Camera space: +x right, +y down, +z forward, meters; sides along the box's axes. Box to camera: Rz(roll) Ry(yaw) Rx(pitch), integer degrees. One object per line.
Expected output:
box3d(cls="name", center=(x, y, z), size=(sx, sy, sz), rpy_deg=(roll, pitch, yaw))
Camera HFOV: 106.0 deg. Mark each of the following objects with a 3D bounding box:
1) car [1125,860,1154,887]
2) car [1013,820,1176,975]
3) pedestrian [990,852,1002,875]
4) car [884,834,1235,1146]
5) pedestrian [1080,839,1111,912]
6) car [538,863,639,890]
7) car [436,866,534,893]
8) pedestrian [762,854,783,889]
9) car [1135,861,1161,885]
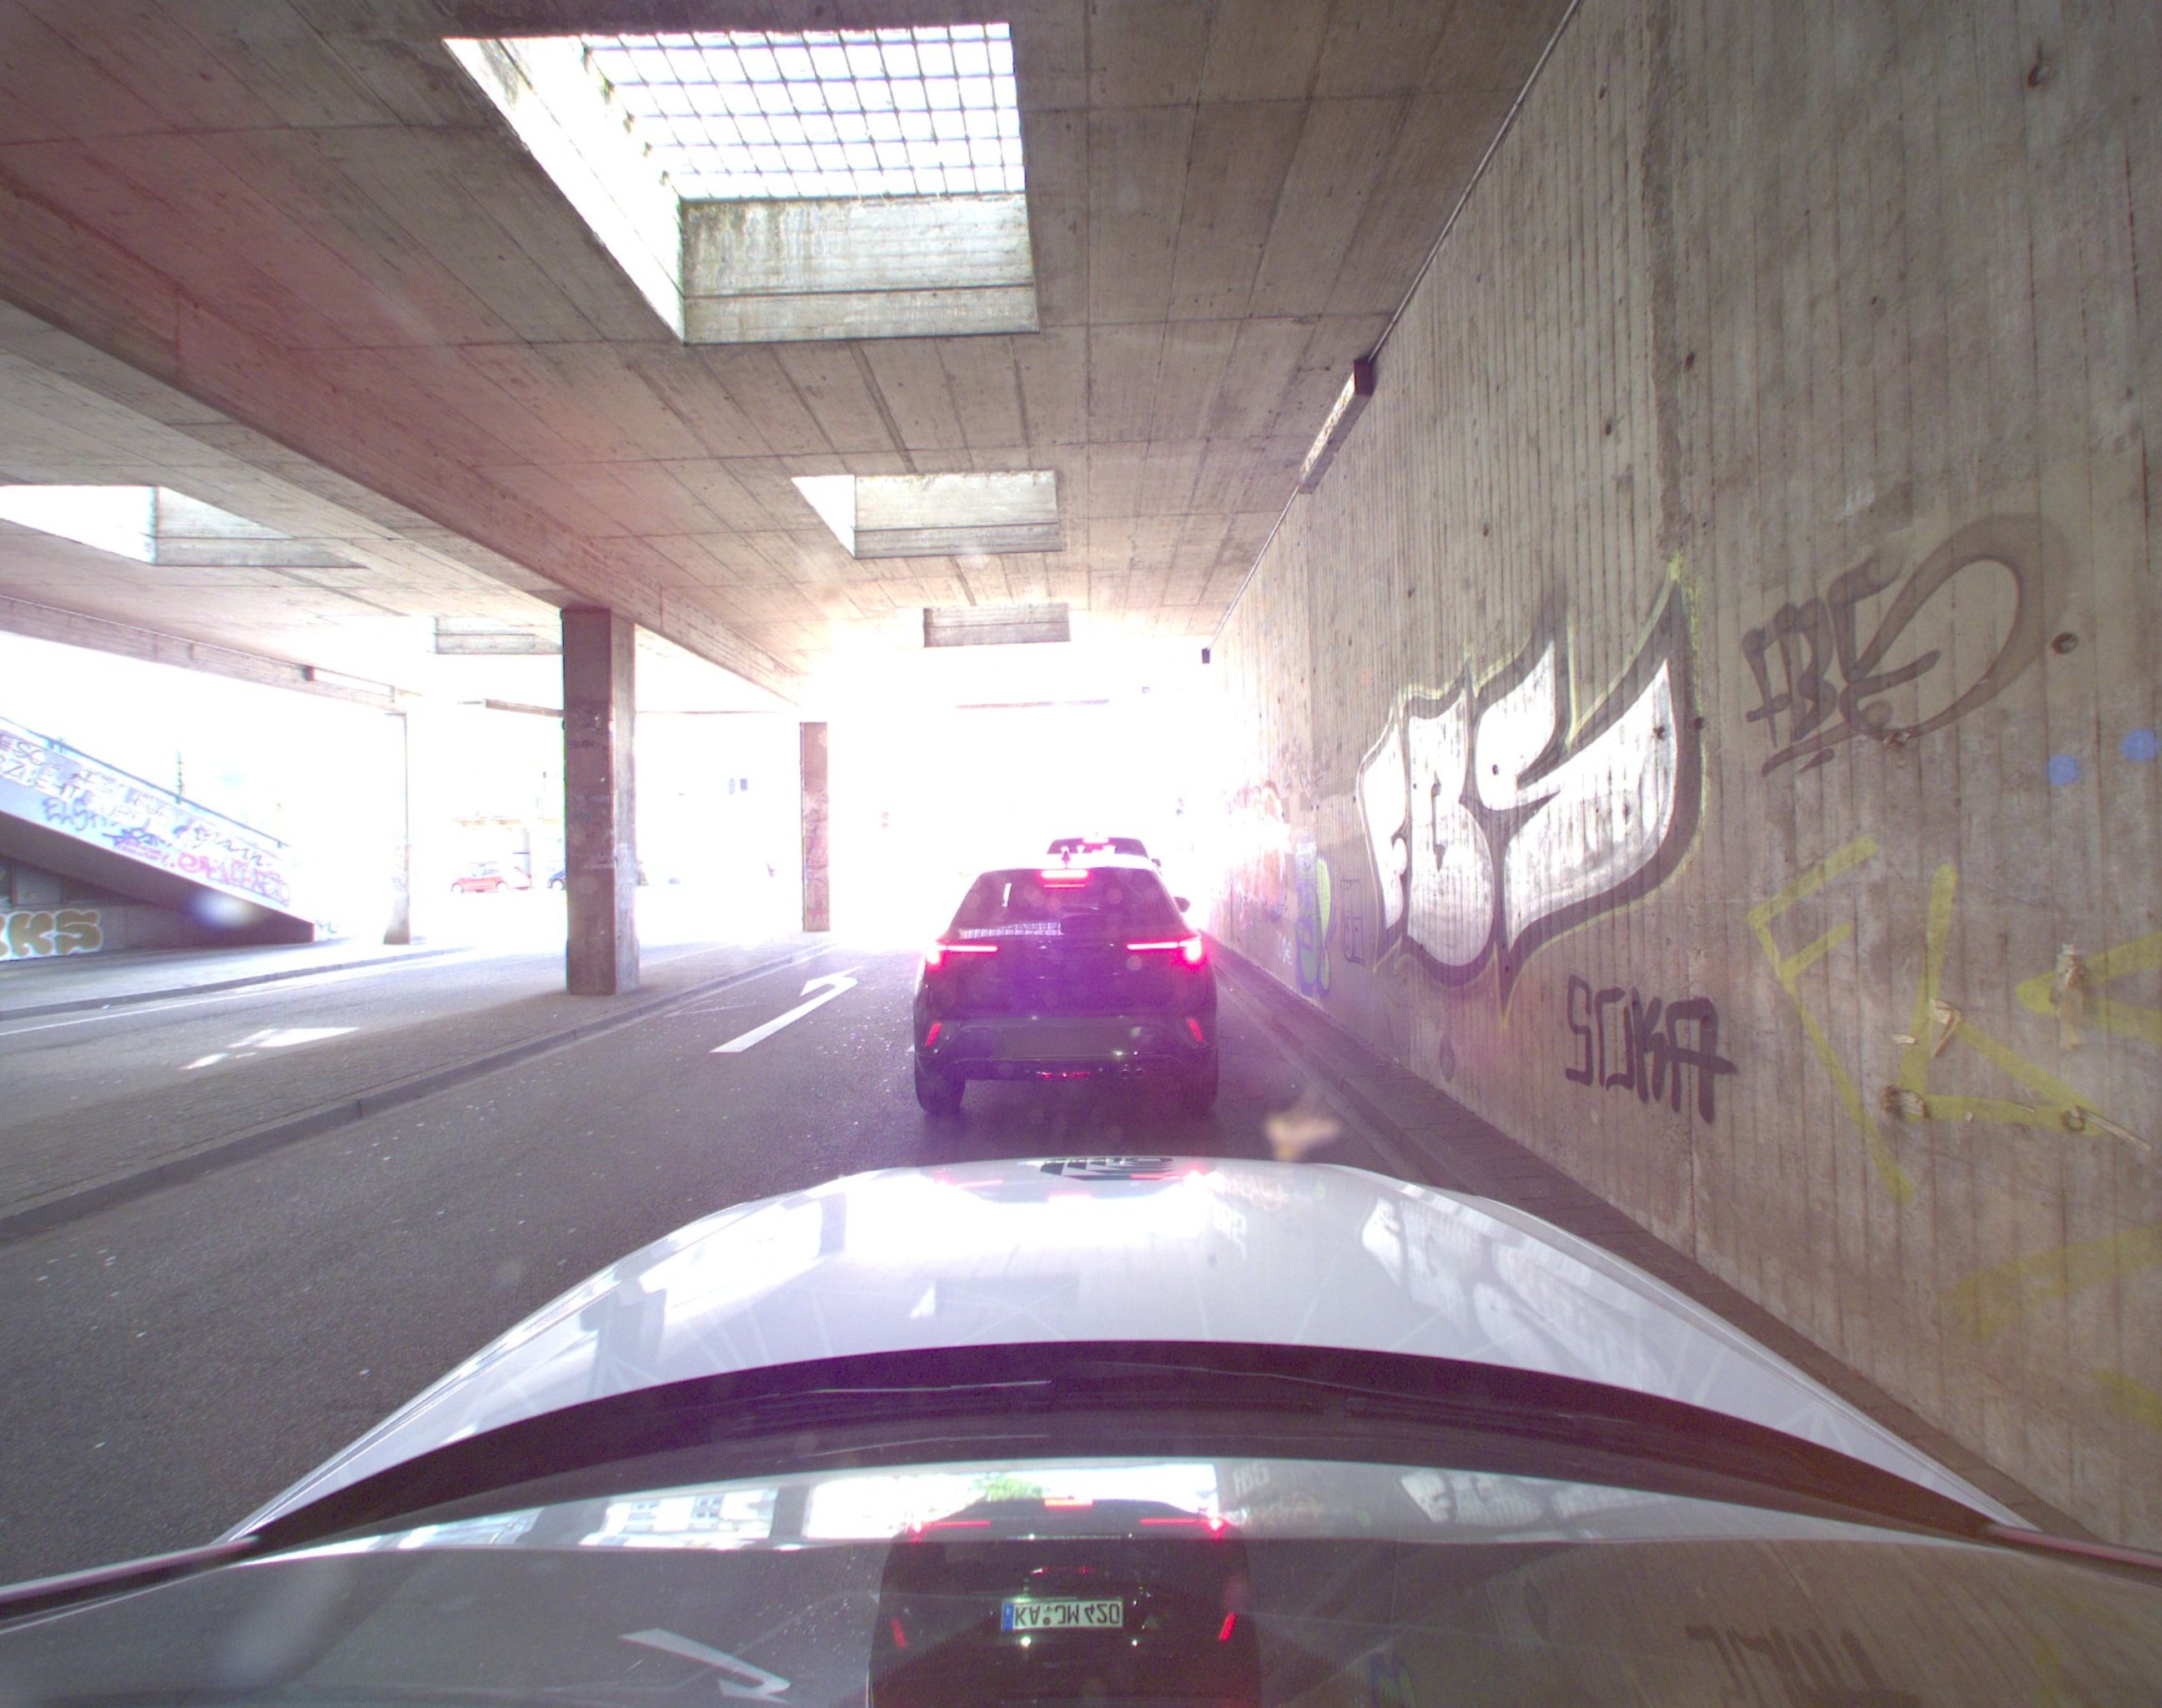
box3d(cls="car", center=(4.517, 1.449, 62.383), size=(1.983, 1.970, 4.172), rpy_deg=(0, -1, 7))
box3d(cls="car", center=(0.232, 0.543, 12.134), size=(1.986, 1.871, 4.002), rpy_deg=(-2, 0, 2))
box3d(cls="pedestrian", center=(-7.677, 0.853, 73.207), size=(0.887, 2.088, 0.810), rpy_deg=(0, -1, 9))
box3d(cls="car", center=(-0.045, 0.653, 6.108), size=(1.758, 1.571, 4.002), rpy_deg=(0, 1, 2))
box3d(cls="pedestrian", center=(0.366, 0.519, 19.970), size=(0.728, 1.734, 0.874), rpy_deg=(0, -1, 1))
box3d(cls="car", center=(-27.299, 1.231, 45.215), size=(4.393, 1.409, 1.925), rpy_deg=(0, -1, -1))
box3d(cls="car", center=(-33.044, 1.417, 45.265), size=(3.975, 1.409, 1.925), rpy_deg=(0, -1, -1))
box3d(cls="pedestrian", center=(-14.288, 0.805, 37.724), size=(0.669, 1.637, 0.741), rpy_deg=(0, -1, 1))
box3d(cls="car", center=(5.715, 1.560, 69.273), size=(1.983, 1.970, 4.172), rpy_deg=(0, -1, 7))
